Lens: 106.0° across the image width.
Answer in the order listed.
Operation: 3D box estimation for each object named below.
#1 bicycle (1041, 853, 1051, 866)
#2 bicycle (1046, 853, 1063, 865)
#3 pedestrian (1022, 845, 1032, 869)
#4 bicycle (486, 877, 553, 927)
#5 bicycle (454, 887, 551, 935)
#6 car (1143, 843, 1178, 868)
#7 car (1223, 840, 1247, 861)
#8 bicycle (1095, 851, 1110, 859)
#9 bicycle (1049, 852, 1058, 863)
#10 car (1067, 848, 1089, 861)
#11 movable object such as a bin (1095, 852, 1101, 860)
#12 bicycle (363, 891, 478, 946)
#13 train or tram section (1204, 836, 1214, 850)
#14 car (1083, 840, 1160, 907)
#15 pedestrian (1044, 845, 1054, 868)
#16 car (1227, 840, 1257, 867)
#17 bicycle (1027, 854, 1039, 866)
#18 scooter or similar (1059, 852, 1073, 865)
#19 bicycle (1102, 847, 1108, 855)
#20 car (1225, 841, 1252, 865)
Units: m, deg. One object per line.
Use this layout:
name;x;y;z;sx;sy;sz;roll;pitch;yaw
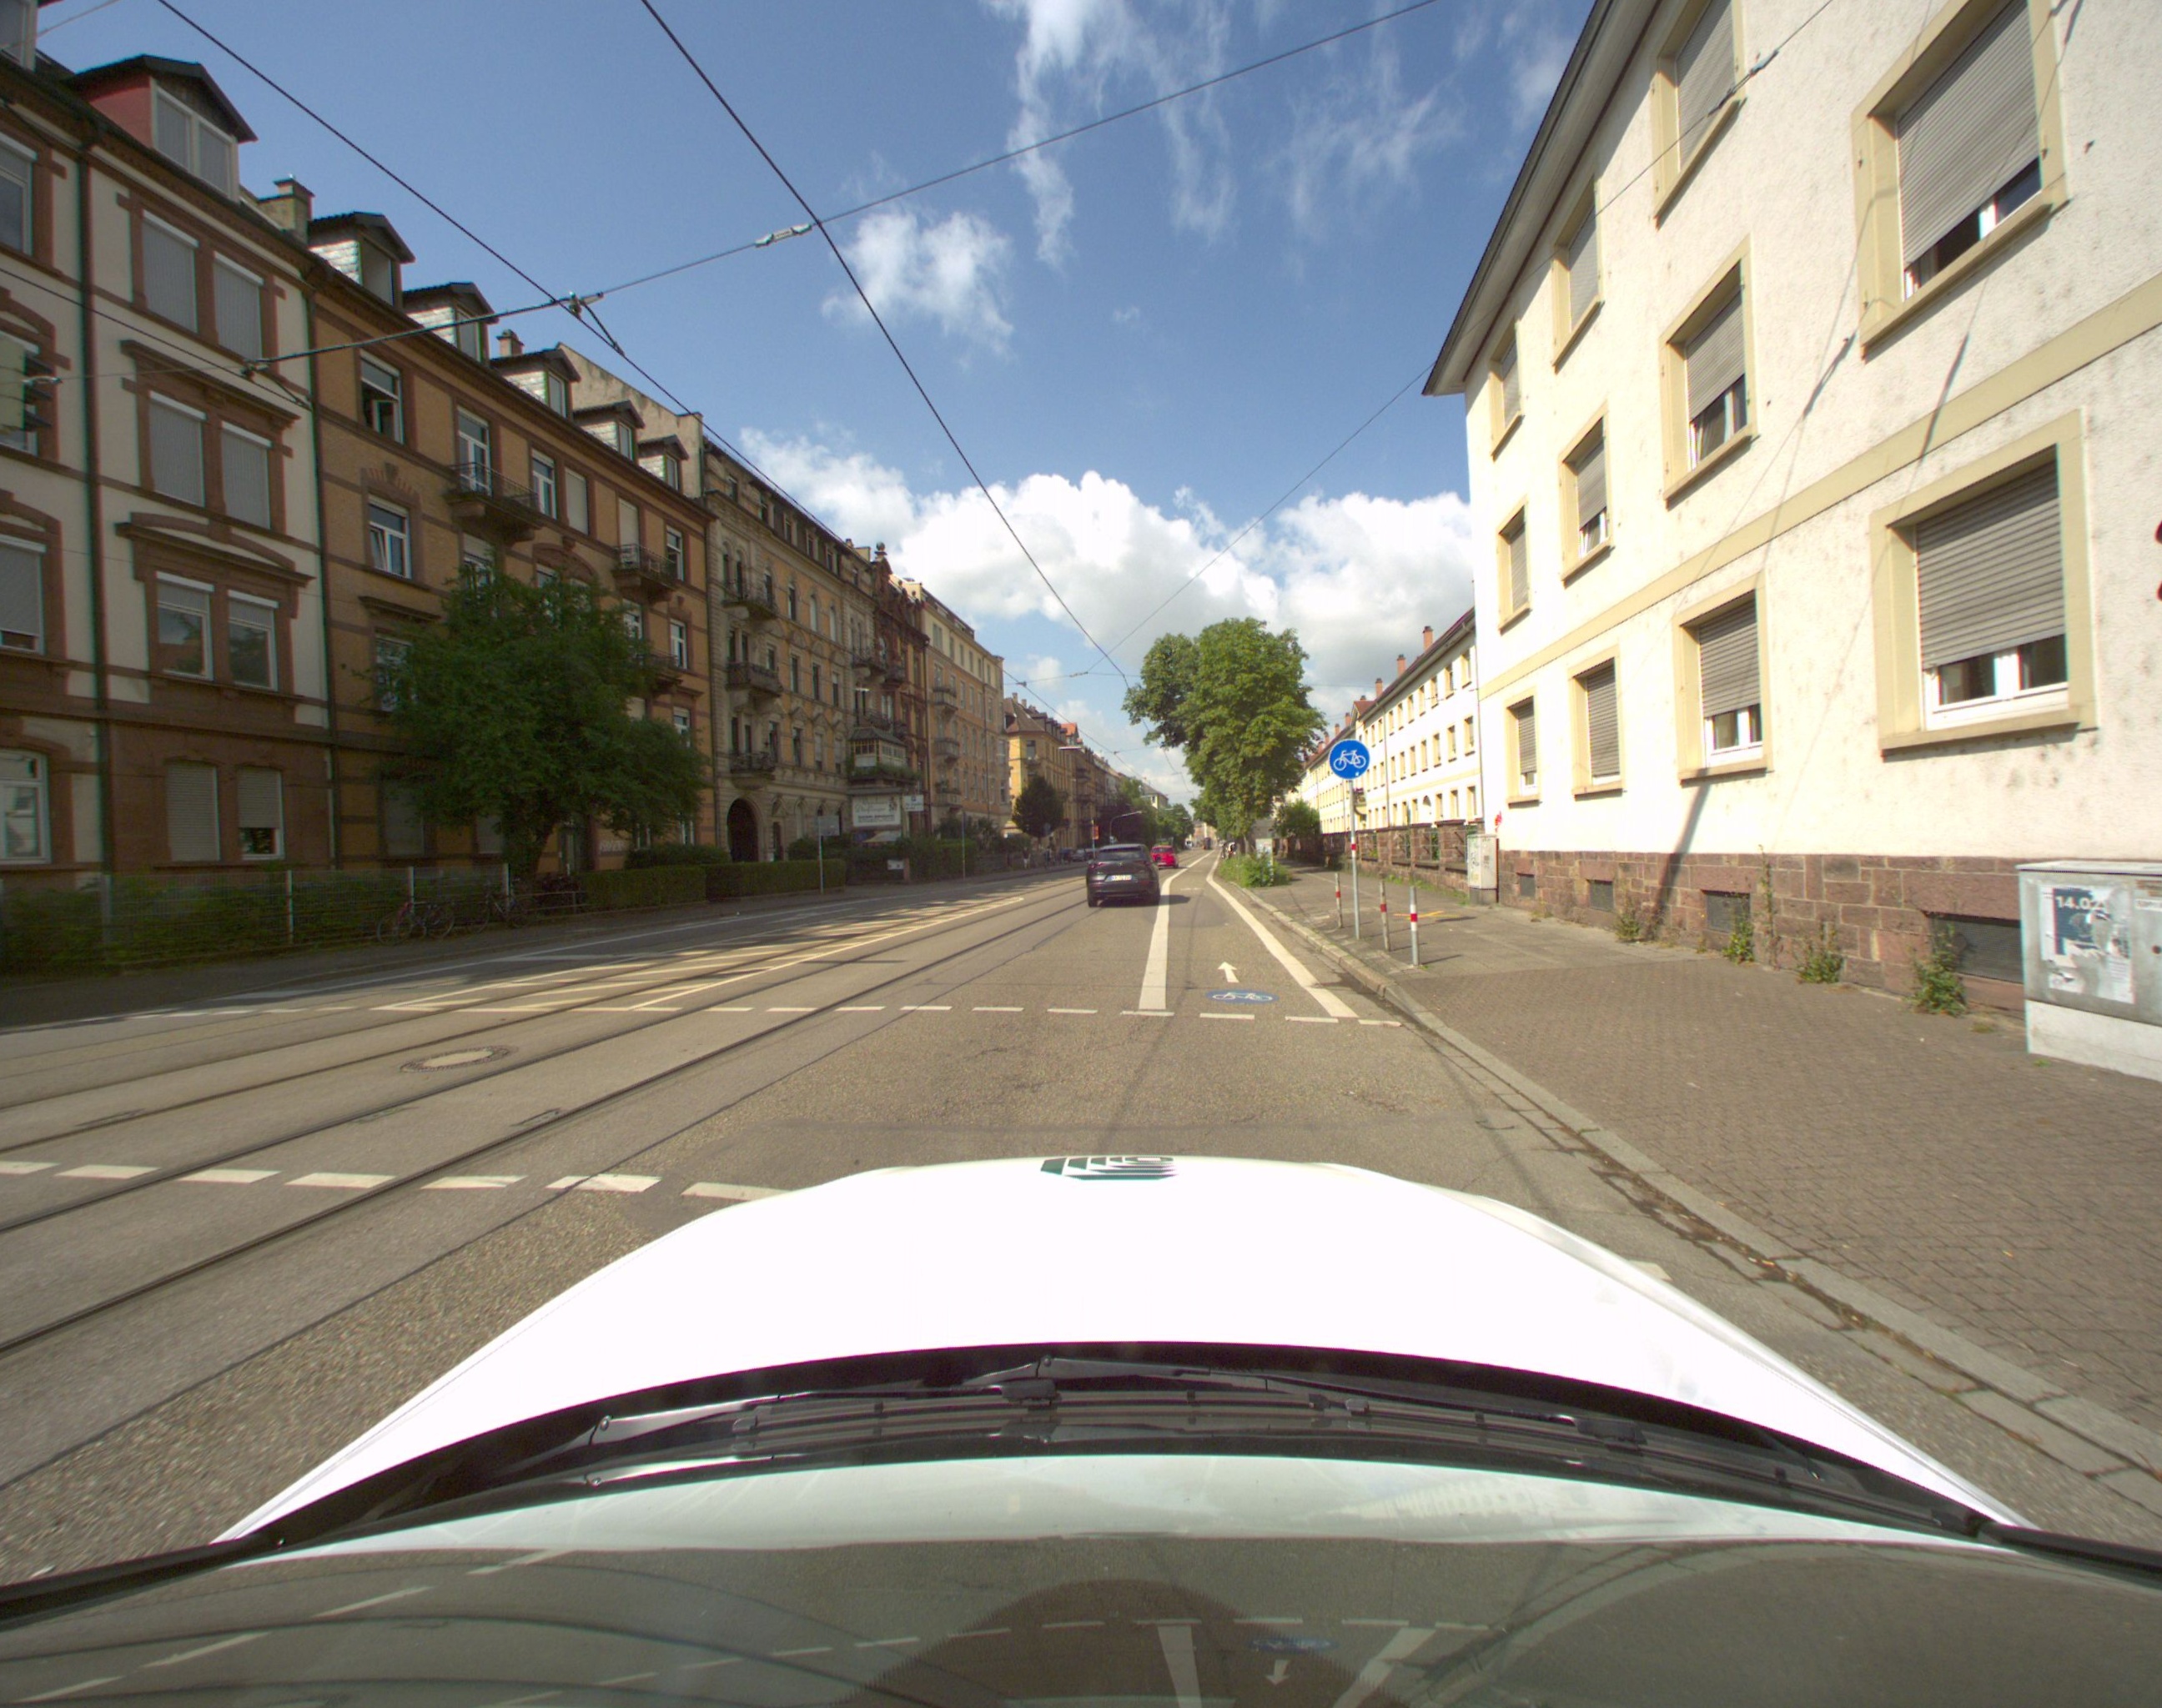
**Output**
bicycle;-2.943;0.458;69.003;0.419;0.976;1.954;-2;0;9
bicycle;-2.427;0.440;73.522;1.444;0.976;0.405;-3;0;9
pedestrian;-3.971;0.192;59.828;0.485;1.703;1.154;-2;0;8
bicycle;-13.541;1.163;19.644;1.297;1.131;0.498;-2;0;8
bicycle;-12.974;1.262;18.330;0.555;0.932;1.832;-2;0;13
car;5.142;0.065;52.227;1.981;1.529;4.011;0;0;10
car;13.282;-0.301;70.325;1.851;1.653;4.650;-2;0;10
bicycle;2.808;0.068;105.658;1.952;0.946;0.532;-3;0;5
bicycle;-2.439;0.309;71.805;0.419;0.976;1.954;-2;0;9
car;-0.325;0.046;97.332;1.675;1.459;4.778;-3;0;10
movable object such as a bin;2.069;0.271;99.259;0.522;0.906;0.637;-3;0;8
bicycle;-13.362;1.281;16.538;0.555;0.932;1.832;-2;0;13
train or tram section;37.240;-3.261;237.456;2.556;3.772;13.061;-2;1;10
car;1.138;0.444;21.273;1.711;1.526;3.596;-2;1;7
pedestrian;-2.428;0.202;61.863;0.530;1.760;1.109;0;0;10
car;9.991;-0.064;50.755;1.650;1.521;4.299;-2;0;9
bicycle;-3.778;0.477;64.167;0.419;0.932;1.954;-2;0;9
scooter or similar;-1.508;0.467;82.195;1.365;1.235;0.401;-2;0;-19
bicycle;3.063;-0.399;103.127;0.527;0.946;1.973;-3;0;10
car;11.451;-0.090;59.362;1.731;1.581;4.260;-2;0;9
